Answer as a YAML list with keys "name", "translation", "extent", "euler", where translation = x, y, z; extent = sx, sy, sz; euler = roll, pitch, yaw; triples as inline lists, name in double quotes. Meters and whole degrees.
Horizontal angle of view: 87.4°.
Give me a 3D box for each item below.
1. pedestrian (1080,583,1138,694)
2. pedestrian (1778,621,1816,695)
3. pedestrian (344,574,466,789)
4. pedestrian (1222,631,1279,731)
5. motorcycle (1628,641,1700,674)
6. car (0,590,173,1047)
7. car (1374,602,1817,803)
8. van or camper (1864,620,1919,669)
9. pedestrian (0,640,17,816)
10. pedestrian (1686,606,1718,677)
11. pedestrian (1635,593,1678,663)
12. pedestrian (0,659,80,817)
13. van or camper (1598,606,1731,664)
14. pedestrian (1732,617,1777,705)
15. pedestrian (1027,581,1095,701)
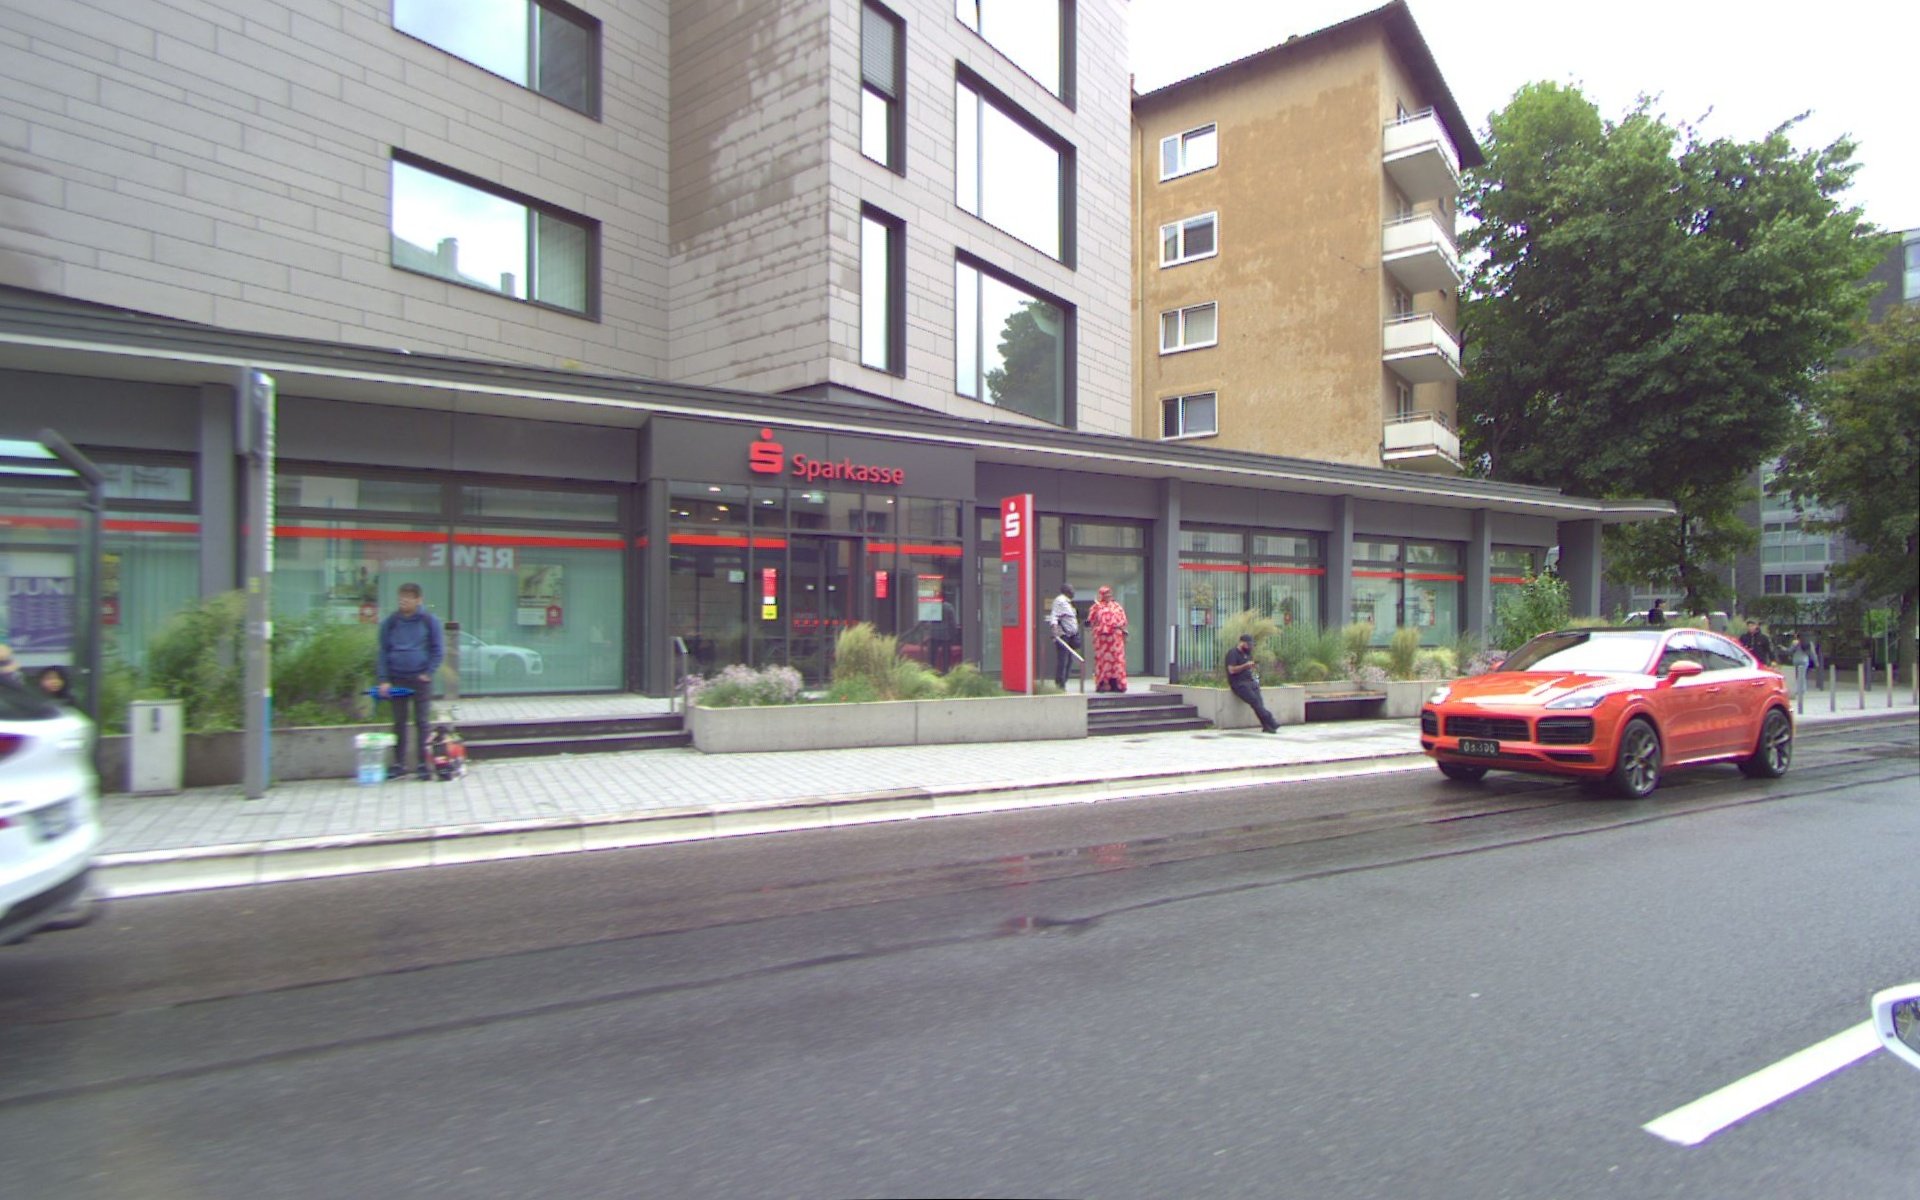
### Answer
- name: "pedestrian"
  translation: [2.340, 0.597, 15.835]
  extent: [0.784, 1.701, 0.713]
  euler: [0, -1, -2]
- name: "pedestrian"
  translation: [21.729, 1.491, 26.079]
  extent: [0.712, 1.850, 0.851]
  euler: [0, 0, 38]
- name: "pedestrian"
  translation: [-5.029, 0.710, 9.113]
  extent: [0.863, 1.843, 0.584]
  euler: [1, -1, -38]
- name: "pedestrian"
  translation: [4.297, 1.188, 14.891]
  extent: [0.710, 1.439, 0.592]
  euler: [0, -1, 5]
- name: "motorcycle"
  translation: [24.935, 2.015, 35.625]
  extent: [0.783, 1.001, 2.053]
  euler: [1, 1, -14]
- name: "car"
  translation: [-5.440, 0.755, 3.398]
  extent: [4.077, 1.593, 1.886]
  euler: [2, -4, -30]
- name: "car"
  translation: [7.133, 1.038, 11.165]
  extent: [5.001, 1.787, 2.096]
  euler: [2, -3, -30]
- name: "van or camper"
  translation: [42.638, 1.947, 43.464]
  extent: [4.881, 2.040, 1.996]
  euler: [0, -1, 32]
- name: "pedestrian"
  translation: [-7.360, 0.946, 7.355]
  extent: [0.543, 1.294, 0.465]
  euler: [1, -1, -30]
- name: "pedestrian"
  translation: [19.160, 1.065, 25.948]
  extent: [0.646, 1.782, 0.718]
  euler: [-1, -1, 37]
- name: "pedestrian"
  translation: [19.015, 0.768, 27.430]
  extent: [0.690, 1.869, 0.851]
  euler: [1, -2, -44]
- name: "pedestrian"
  translation: [-6.957, 1.019, 7.582]
  extent: [0.382, 1.131, 0.390]
  euler: [1, -1, -30]
- name: "van or camper"
  translation: [30.742, 1.479, 44.039]
  extent: [4.537, 2.297, 2.206]
  euler: [2, 1, 32]
- name: "pedestrian"
  translation: [17.049, 1.287, 21.558]
  extent: [0.713, 1.850, 0.718]
  euler: [0, 0, 41]
- name: "pedestrian"
  translation: [1.477, 0.591, 14.751]
  extent: [0.705, 1.701, 0.710]
  euler: [1, -1, -30]
